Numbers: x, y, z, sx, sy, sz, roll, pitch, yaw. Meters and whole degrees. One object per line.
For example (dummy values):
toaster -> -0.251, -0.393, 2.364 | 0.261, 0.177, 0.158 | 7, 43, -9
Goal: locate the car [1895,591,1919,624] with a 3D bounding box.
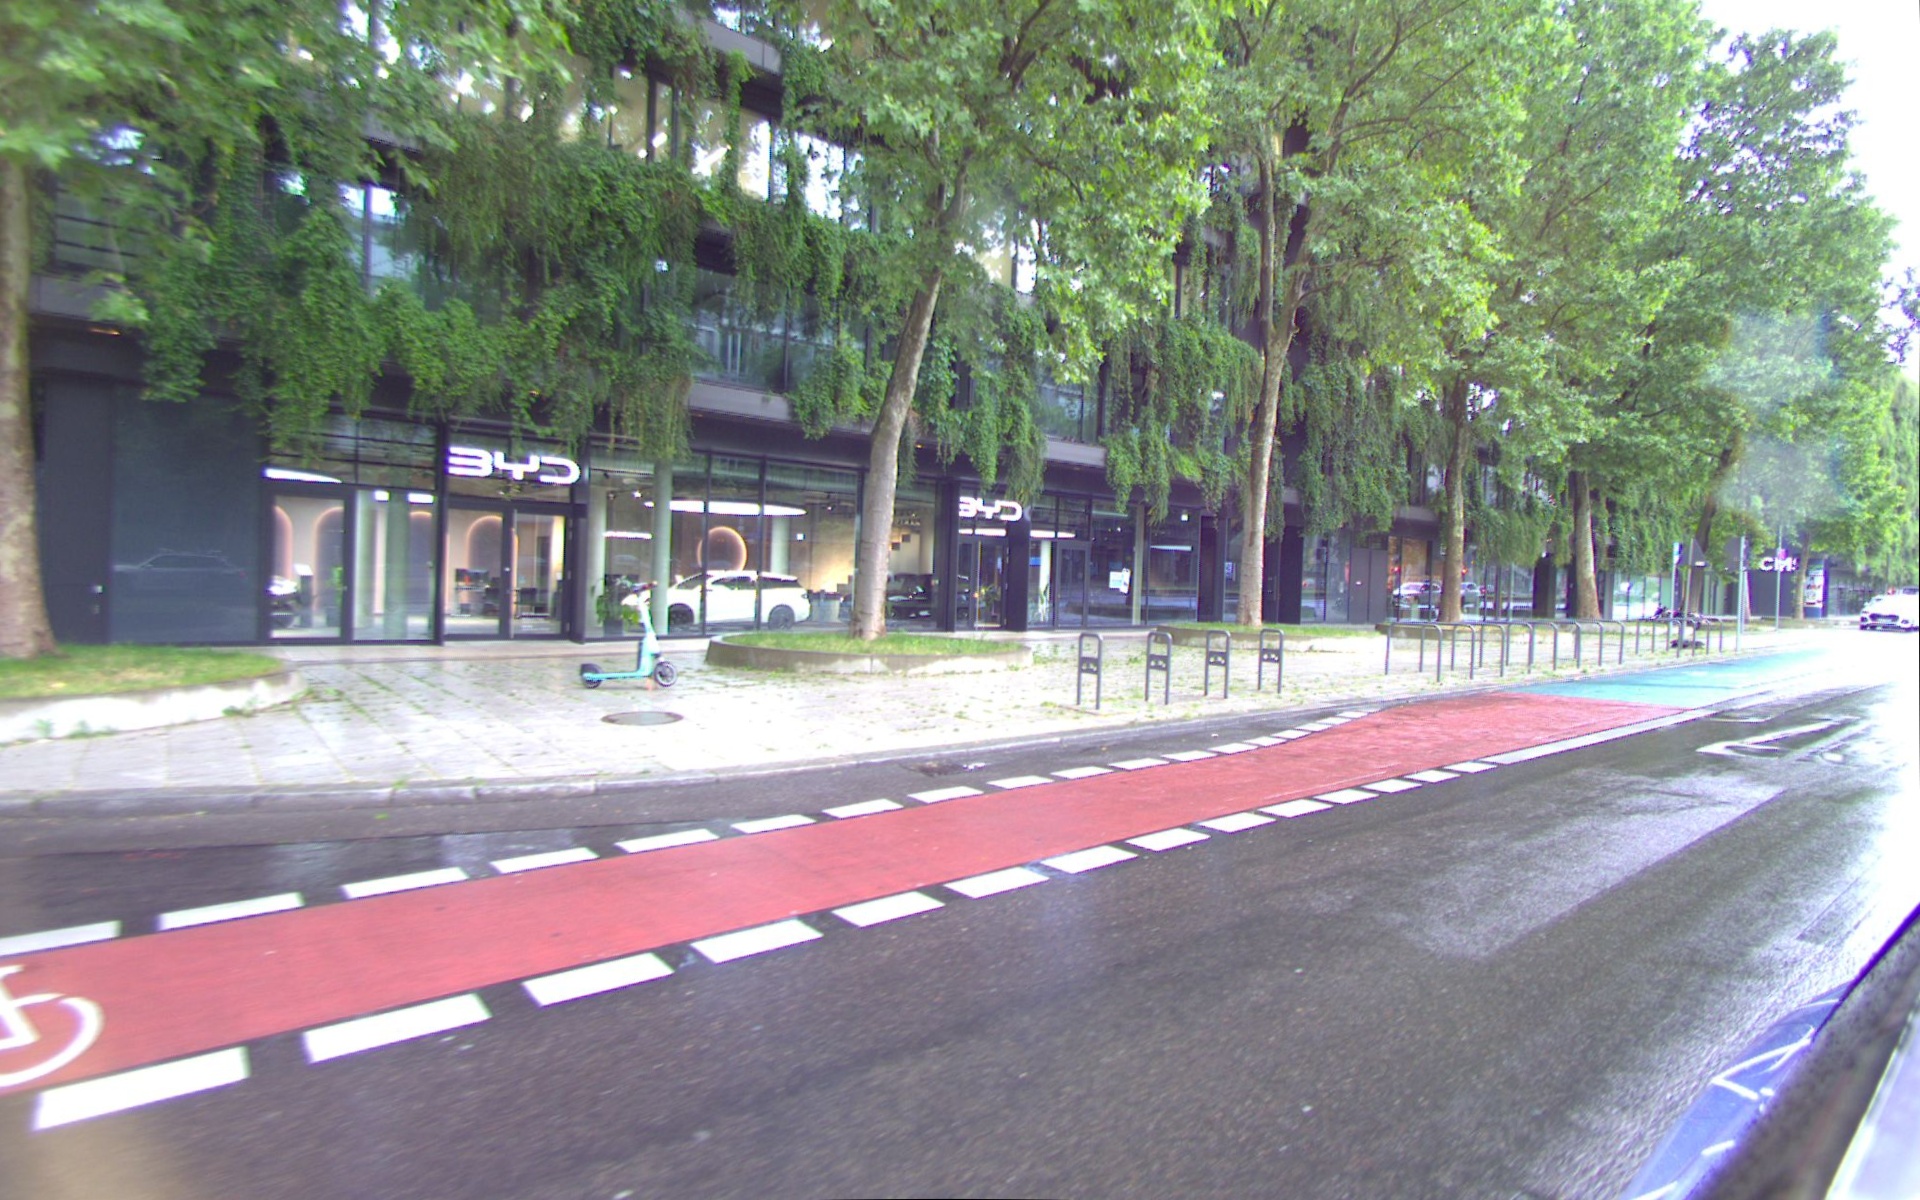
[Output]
car -> 49.515, 0.372, 51.645 | 4.503, 1.581, 2.035 | -1, 1, -39

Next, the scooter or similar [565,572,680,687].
scooter or similar -> -3.920, 0.329, 11.779 | 1.165, 1.298, 0.535 | 0, 0, 10

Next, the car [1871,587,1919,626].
car -> 44.776, 0.274, 47.918 | 4.519, 1.757, 1.931 | -1, 1, -41
